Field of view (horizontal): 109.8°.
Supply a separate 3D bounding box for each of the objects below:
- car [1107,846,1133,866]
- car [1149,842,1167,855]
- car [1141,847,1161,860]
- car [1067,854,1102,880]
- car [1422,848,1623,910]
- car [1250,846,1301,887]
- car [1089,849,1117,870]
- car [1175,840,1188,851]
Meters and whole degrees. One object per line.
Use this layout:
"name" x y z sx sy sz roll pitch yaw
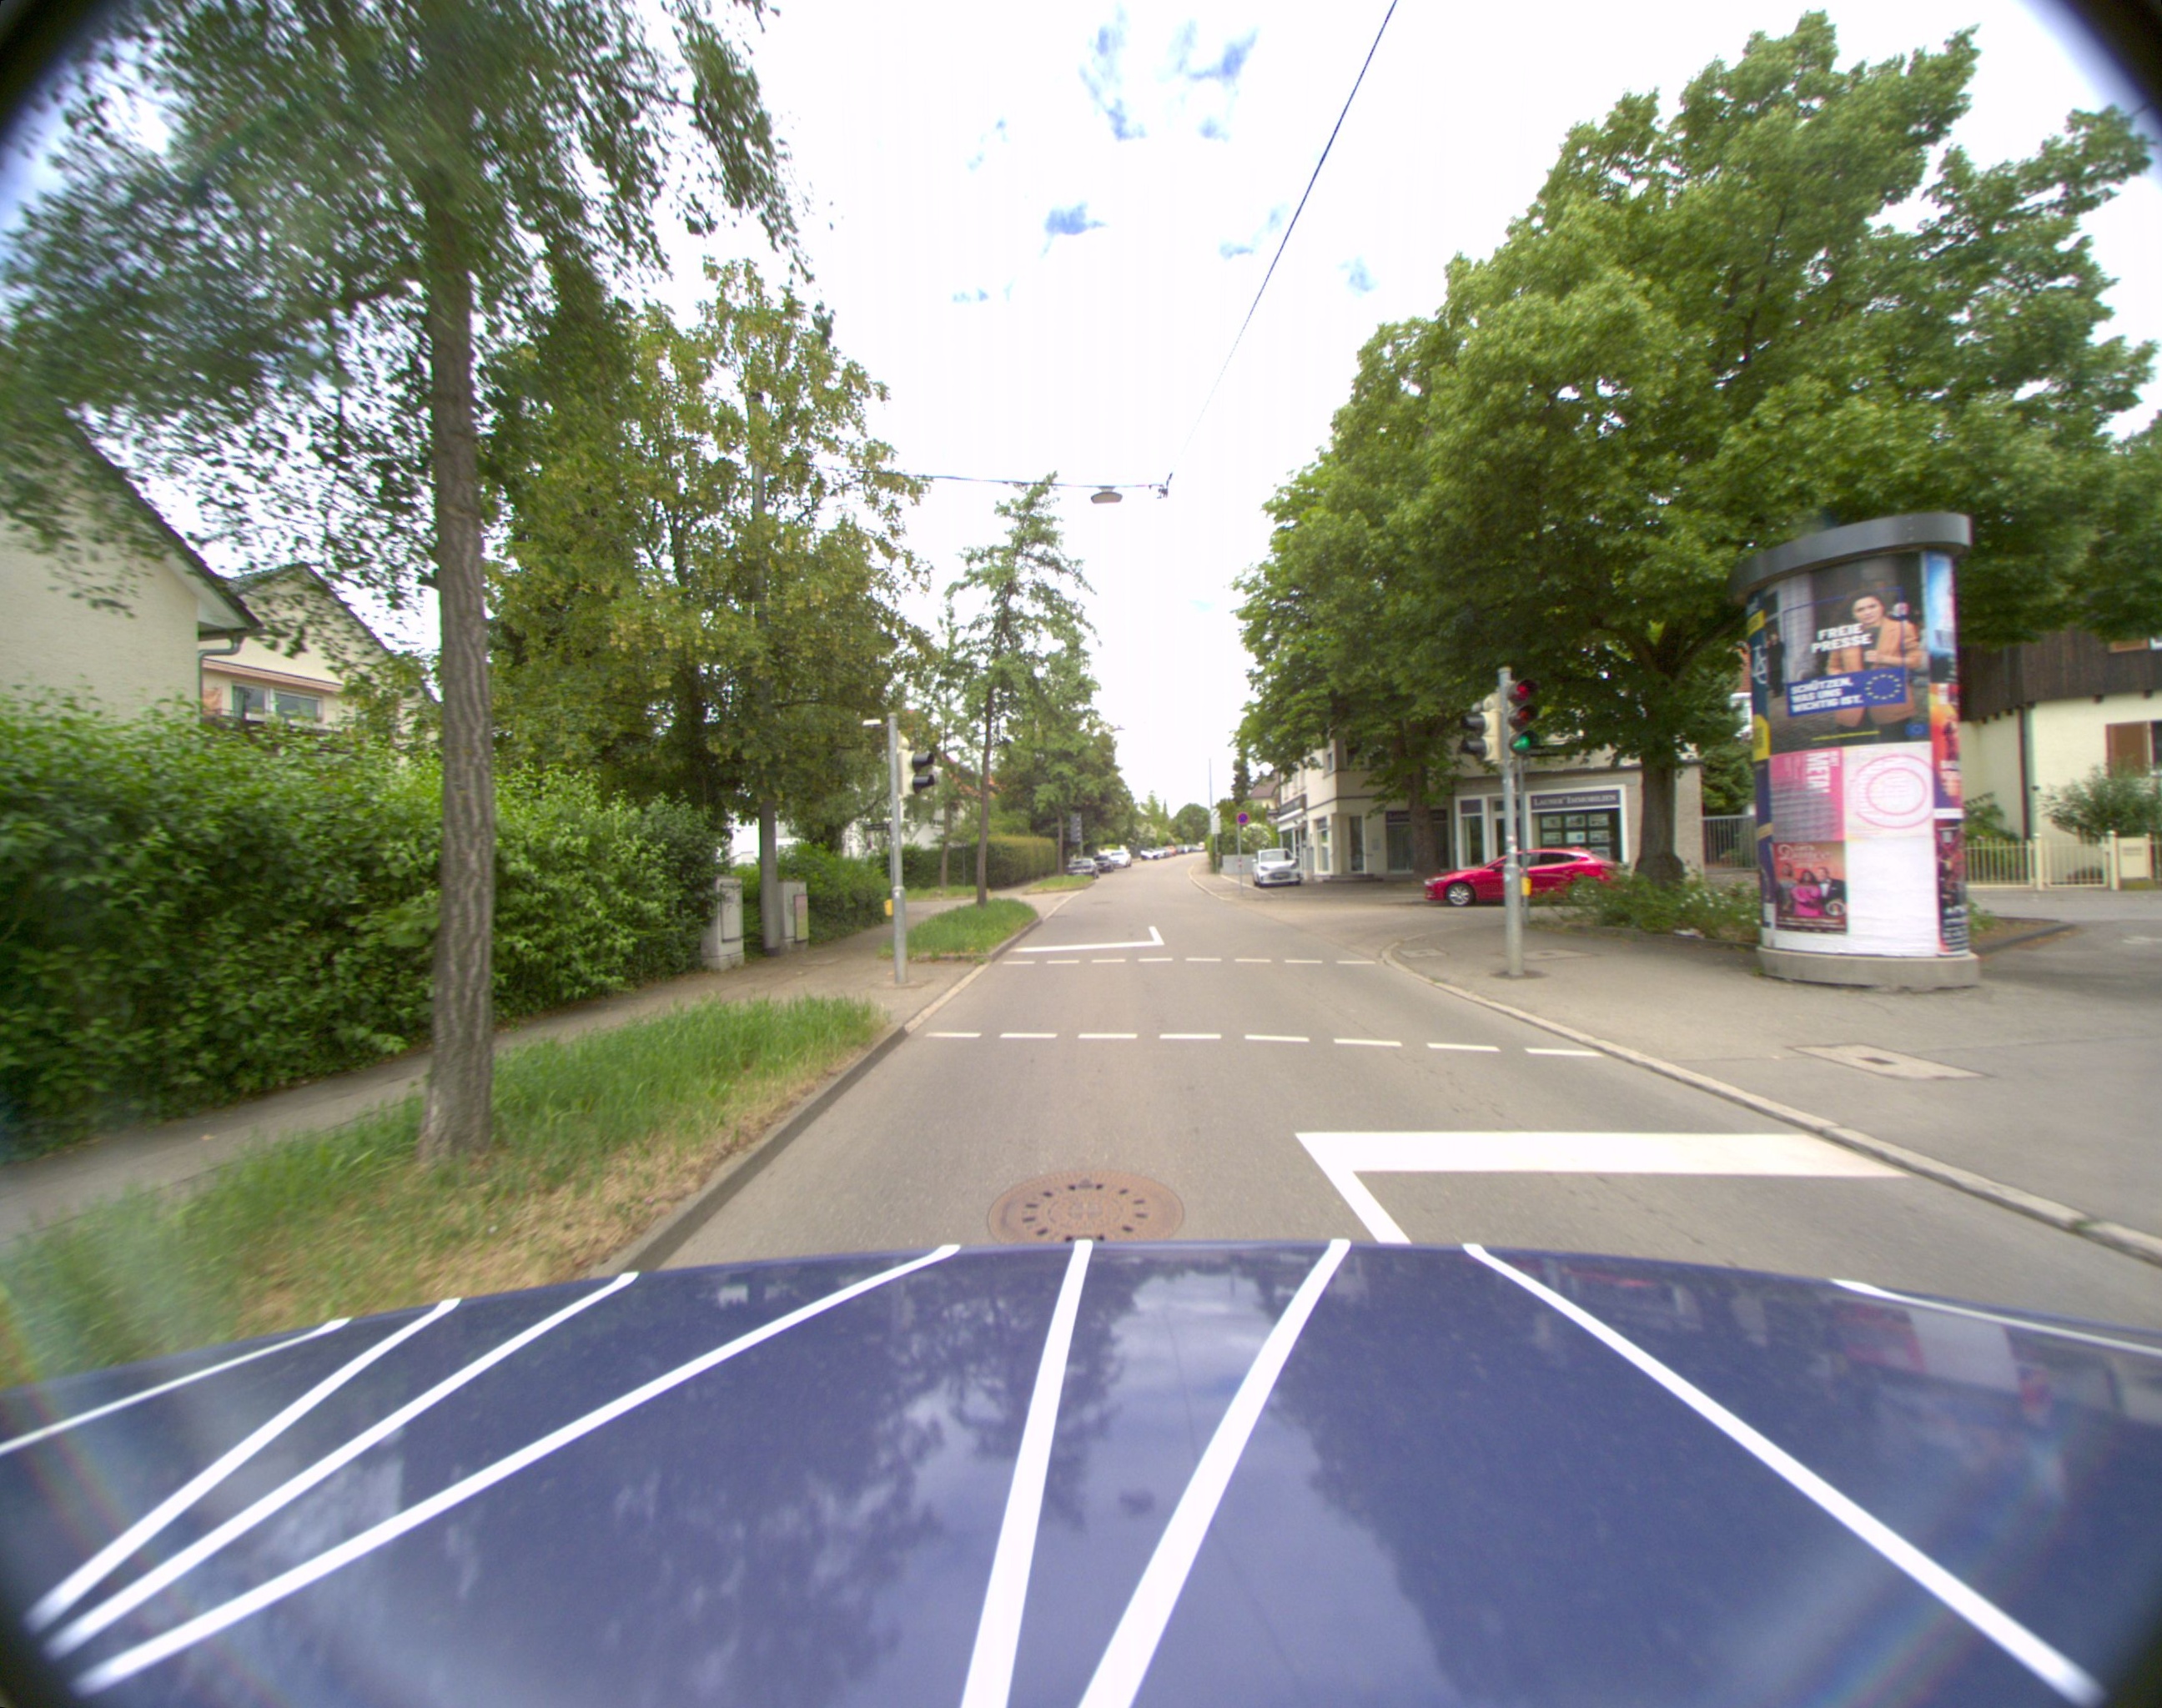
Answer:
"car" 3.737 0.158 72.239 1.868 1.675 4.353 -3 1 11
"car" 10.751 -0.757 106.098 1.832 1.614 4.495 -3 1 13
"car" 9.103 -0.090 98.105 2.290 1.515 1.319 -2 1 18
"car" 0.269 0.826 50.145 1.713 1.404 3.792 -4 1 8
"car" 11.176 0.665 19.420 4.222 1.423 1.820 -2 -2 32
"car" 8.037 0.487 31.588 1.592 1.529 2.925 -5 0 7
"car" 1.821 0.423 61.233 1.713 1.479 3.792 -3 1 8
"car" 17.449 -1.470 131.529 1.953 1.617 4.379 -4 1 11
